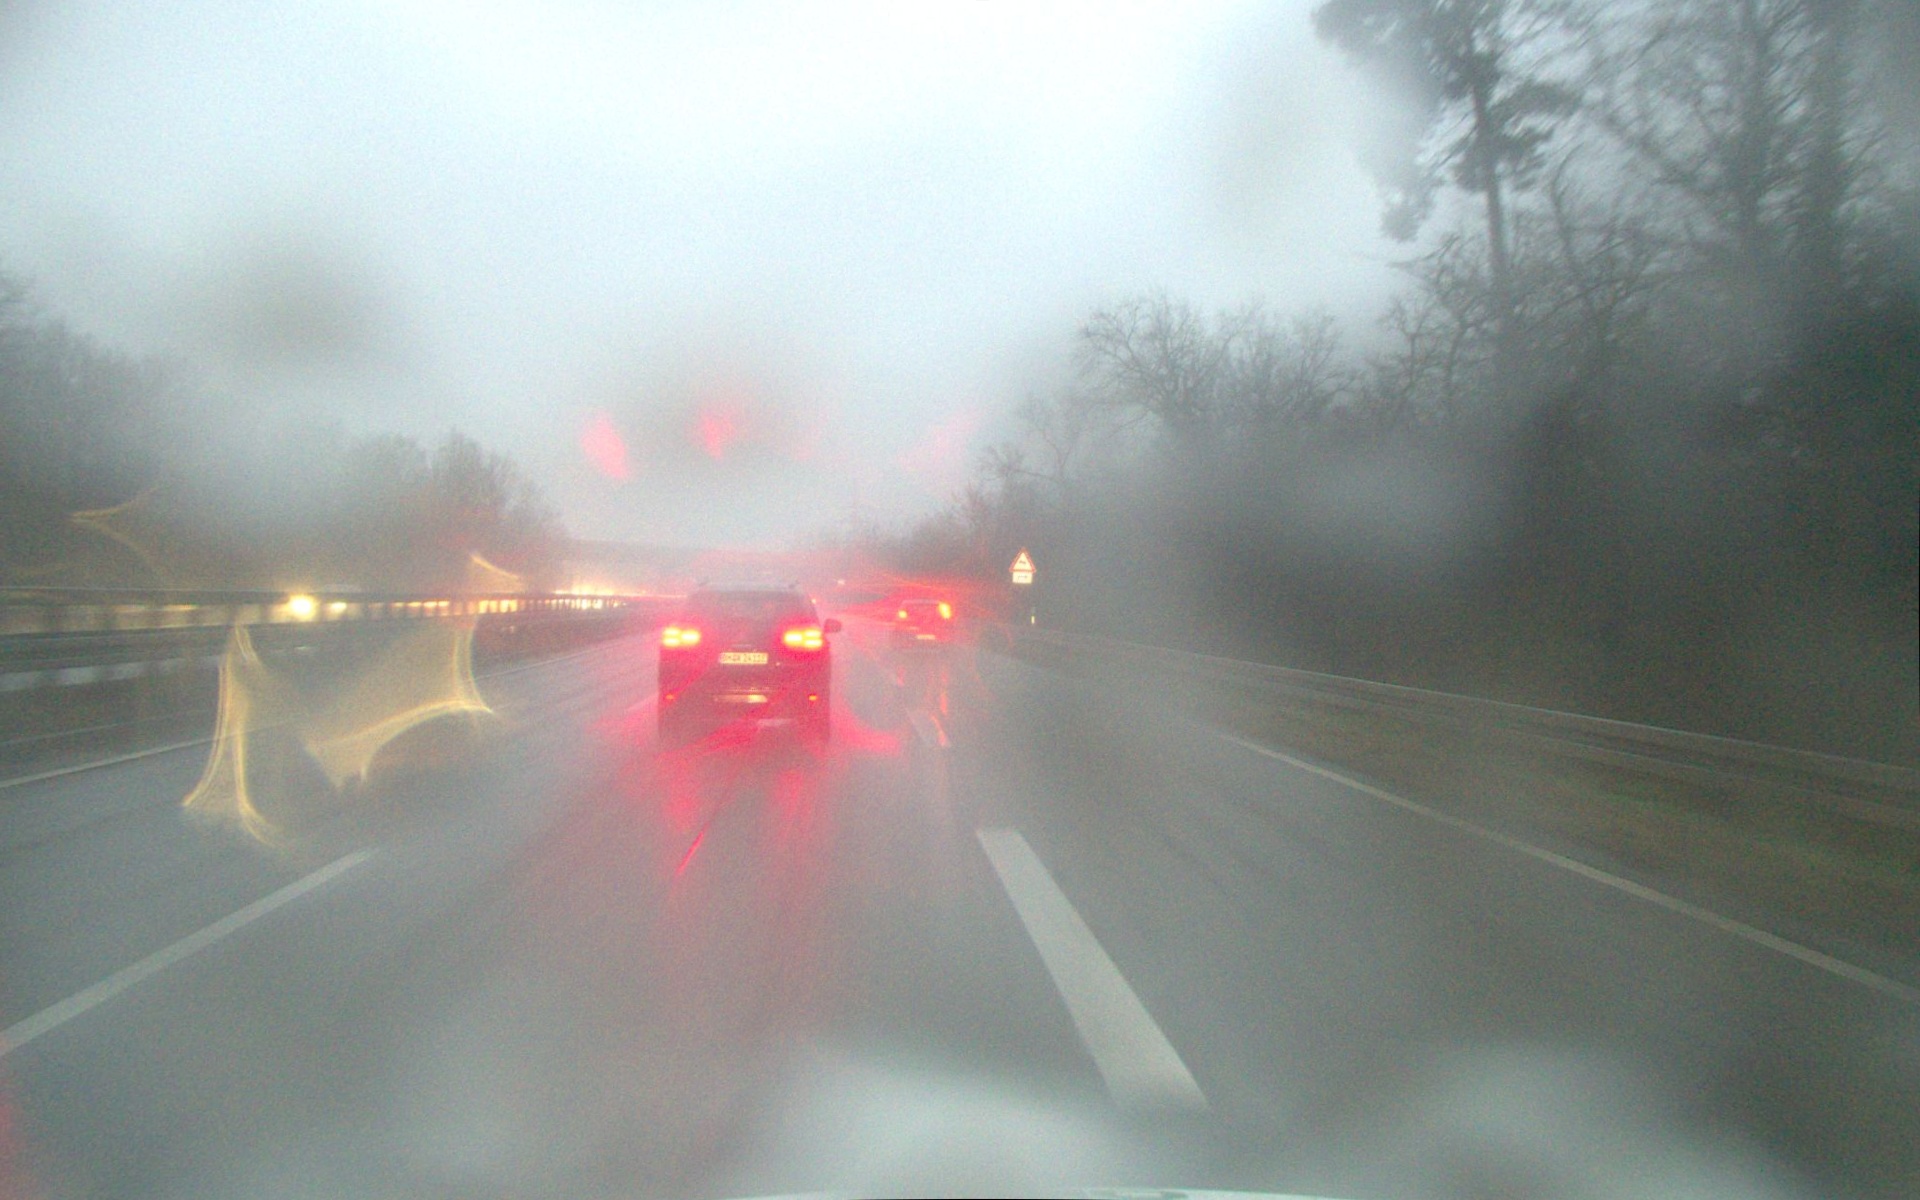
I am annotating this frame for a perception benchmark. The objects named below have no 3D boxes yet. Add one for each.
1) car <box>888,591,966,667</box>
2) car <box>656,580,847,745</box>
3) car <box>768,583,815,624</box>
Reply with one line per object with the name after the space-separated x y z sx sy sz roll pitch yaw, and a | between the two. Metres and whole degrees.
-0.940 0.762 45.393 1.699 1.452 3.764 1 9 -8 | car
-2.405 0.644 19.152 1.956 1.694 3.993 0 0 -7 | car
-7.712 0.147 75.363 1.844 1.645 3.866 2 1 -9 | car
